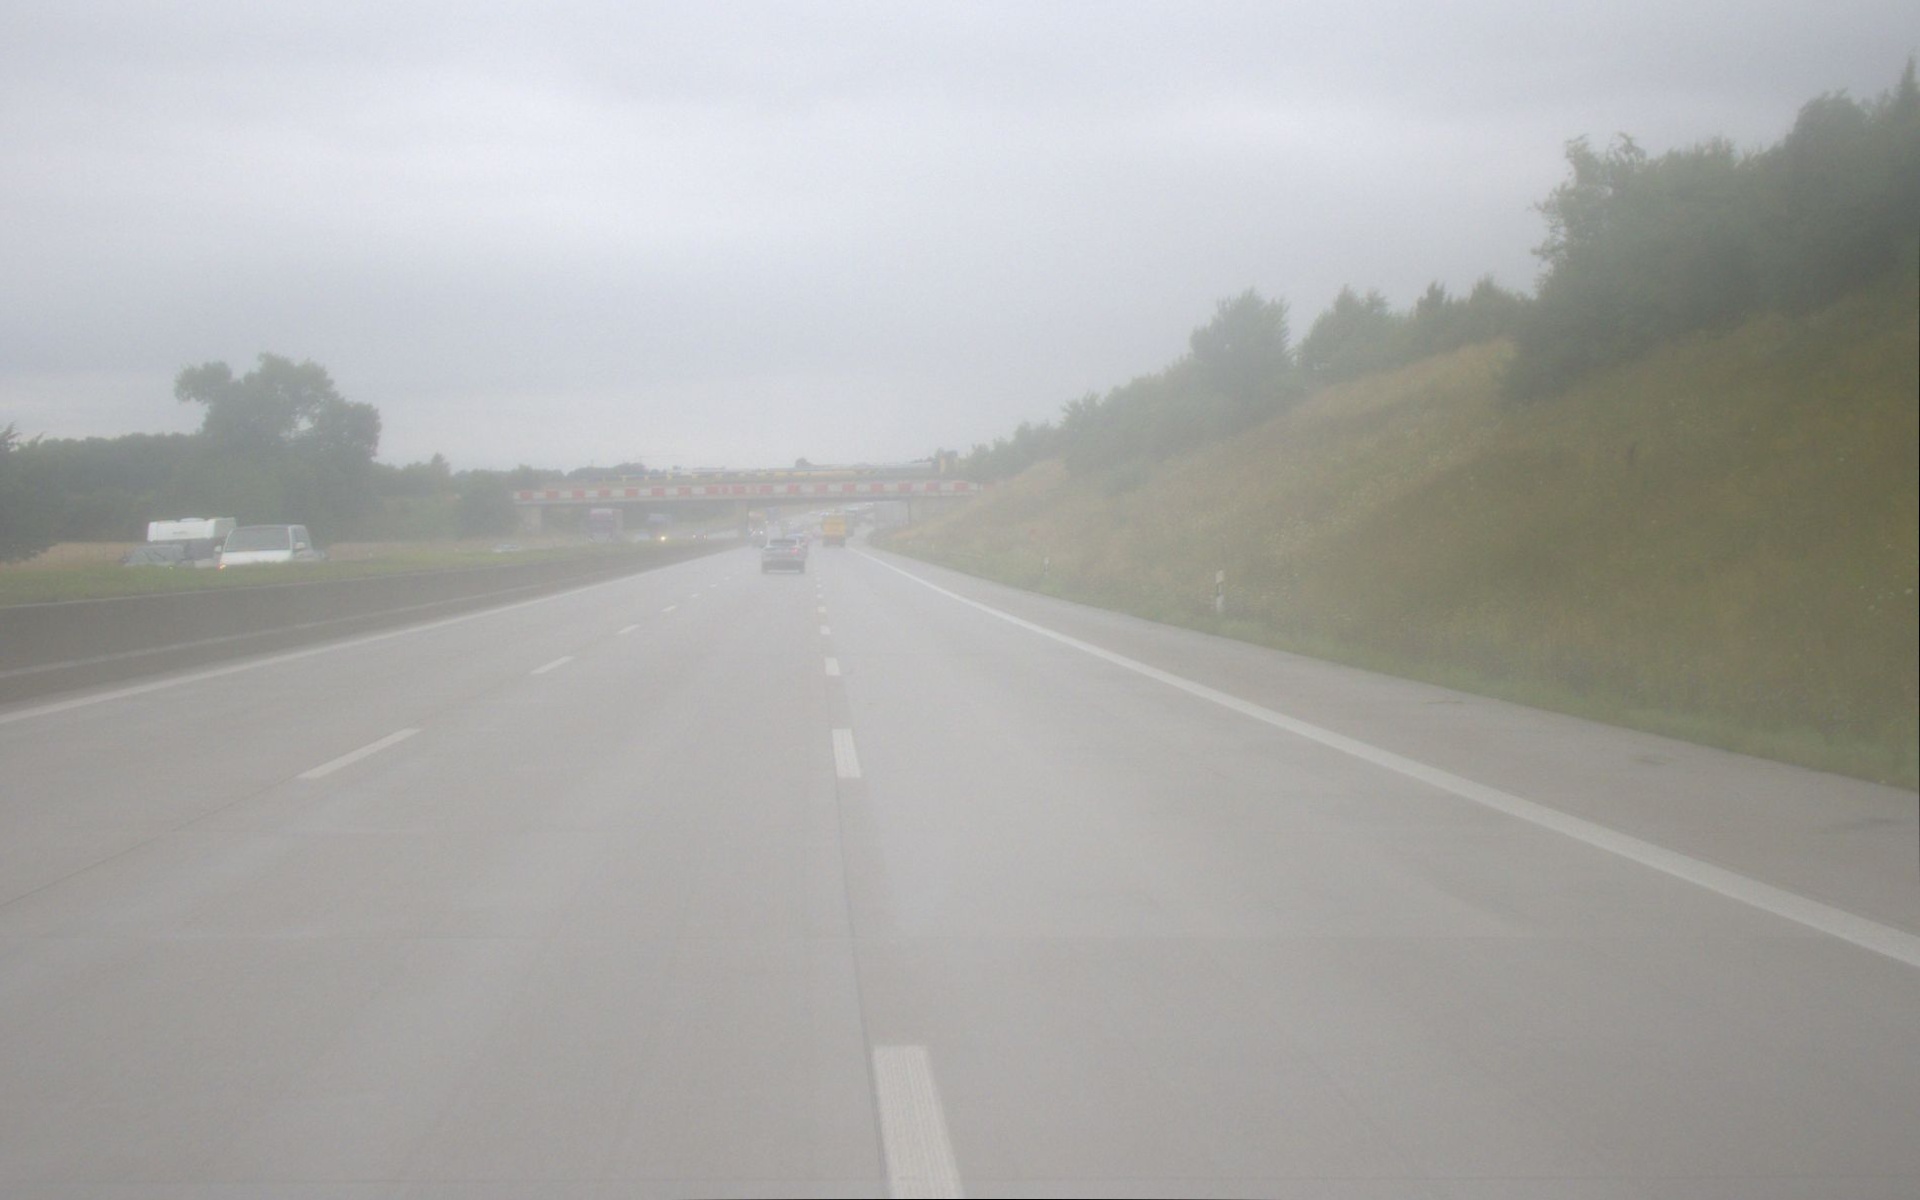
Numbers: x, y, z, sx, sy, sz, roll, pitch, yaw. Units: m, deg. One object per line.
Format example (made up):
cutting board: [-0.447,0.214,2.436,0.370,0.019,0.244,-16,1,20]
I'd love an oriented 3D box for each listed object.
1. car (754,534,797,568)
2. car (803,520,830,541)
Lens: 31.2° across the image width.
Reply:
car: [-8.042,-2.136,149.378,1.847,1.326,4.431,0,2,-3]
car: [-9.633,-4.659,231.316,1.729,1.326,4.431,0,2,-3]
